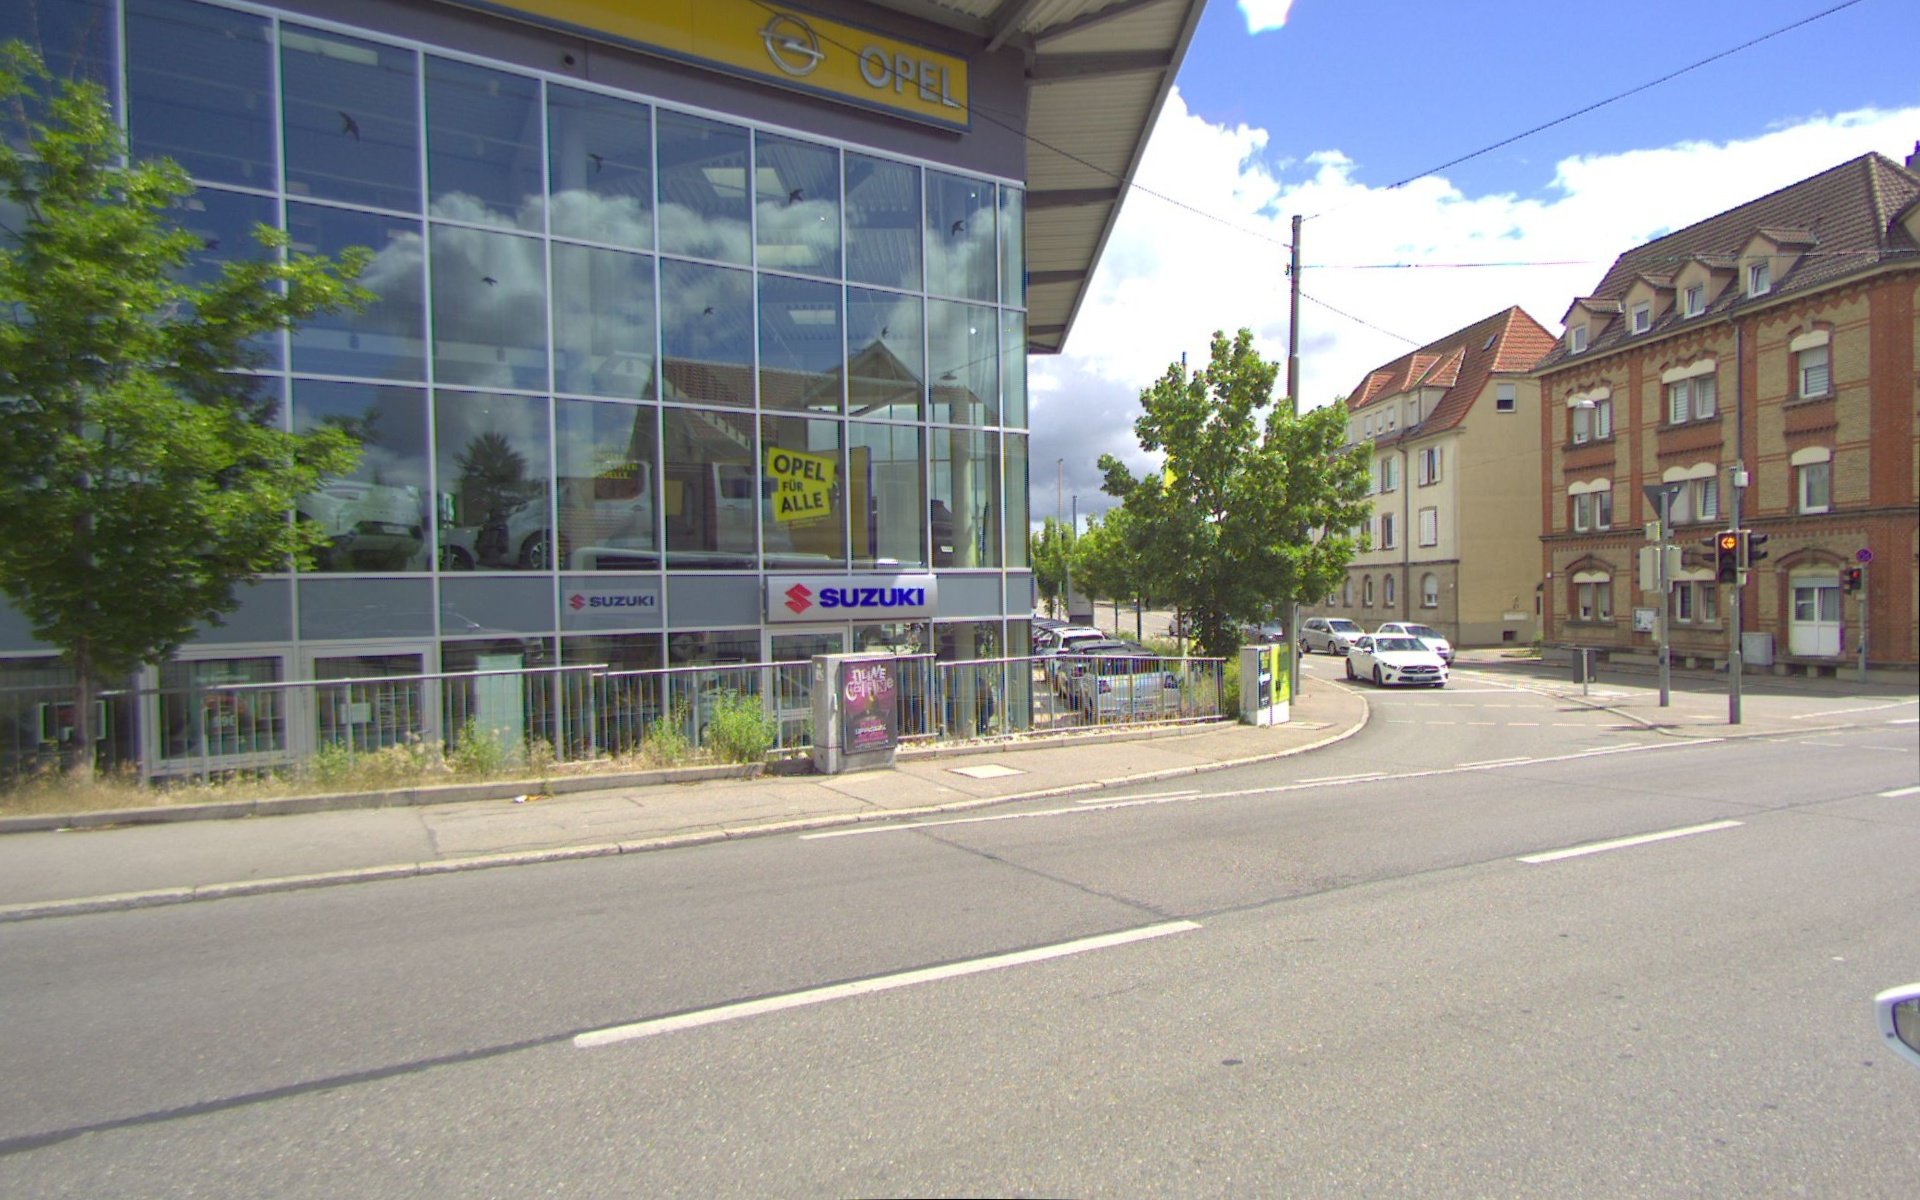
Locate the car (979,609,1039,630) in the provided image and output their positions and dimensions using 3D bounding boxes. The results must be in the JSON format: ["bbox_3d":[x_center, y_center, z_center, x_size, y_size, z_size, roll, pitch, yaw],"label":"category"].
[{"bbox_3d":[3.227,1.277,66.665,3.921,1.311,1.818,1,-1,0],"label":"car"}]

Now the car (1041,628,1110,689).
[{"bbox_3d":[3.281,1.637,29.089,1.487,1.596,3.414,1,-1,-2],"label":"car"}]

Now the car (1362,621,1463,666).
[{"bbox_3d":[17.064,1.611,38.083,1.670,1.517,3.995,1,-1,-7],"label":"car"}]

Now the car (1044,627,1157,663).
[{"bbox_3d":[5.167,1.637,37.205,3.921,1.202,1.818,1,-1,0],"label":"car"}]

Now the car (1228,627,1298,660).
[{"bbox_3d":[15.335,2.188,51.014,1.963,1.539,3.996,1,-1,-7],"label":"car"}]

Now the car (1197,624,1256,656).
[{"bbox_3d":[14.835,2.200,56.114,1.961,1.607,4.345,1,0,-2],"label":"car"}]

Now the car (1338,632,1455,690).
[{"bbox_3d":[12.370,1.687,28.769,1.825,1.466,4.394,0,-1,6],"label":"car"}]

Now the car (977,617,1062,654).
[{"bbox_3d":[2.650,1.590,45.863,1.974,1.599,4.476,1,-1,-26],"label":"car"}]

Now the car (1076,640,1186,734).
[{"bbox_3d":[3.396,1.692,20.546,1.720,1.596,3.687,2,-1,2],"label":"car"}]

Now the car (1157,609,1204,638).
[{"bbox_3d":[14.109,1.477,64.472,1.908,1.743,3.998,1,-1,-4],"label":"car"}]

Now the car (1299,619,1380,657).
[{"bbox_3d":[16.738,1.645,44.508,1.715,1.539,3.996,1,-1,-7],"label":"car"}]

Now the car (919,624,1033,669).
[{"bbox_3d":[0.610,1.695,37.207,3.919,1.478,1.605,1,-1,15],"label":"car"}]

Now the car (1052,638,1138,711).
[{"bbox_3d":[3.232,1.757,24.695,1.487,1.543,3.792,1,-1,-2],"label":"car"}]
